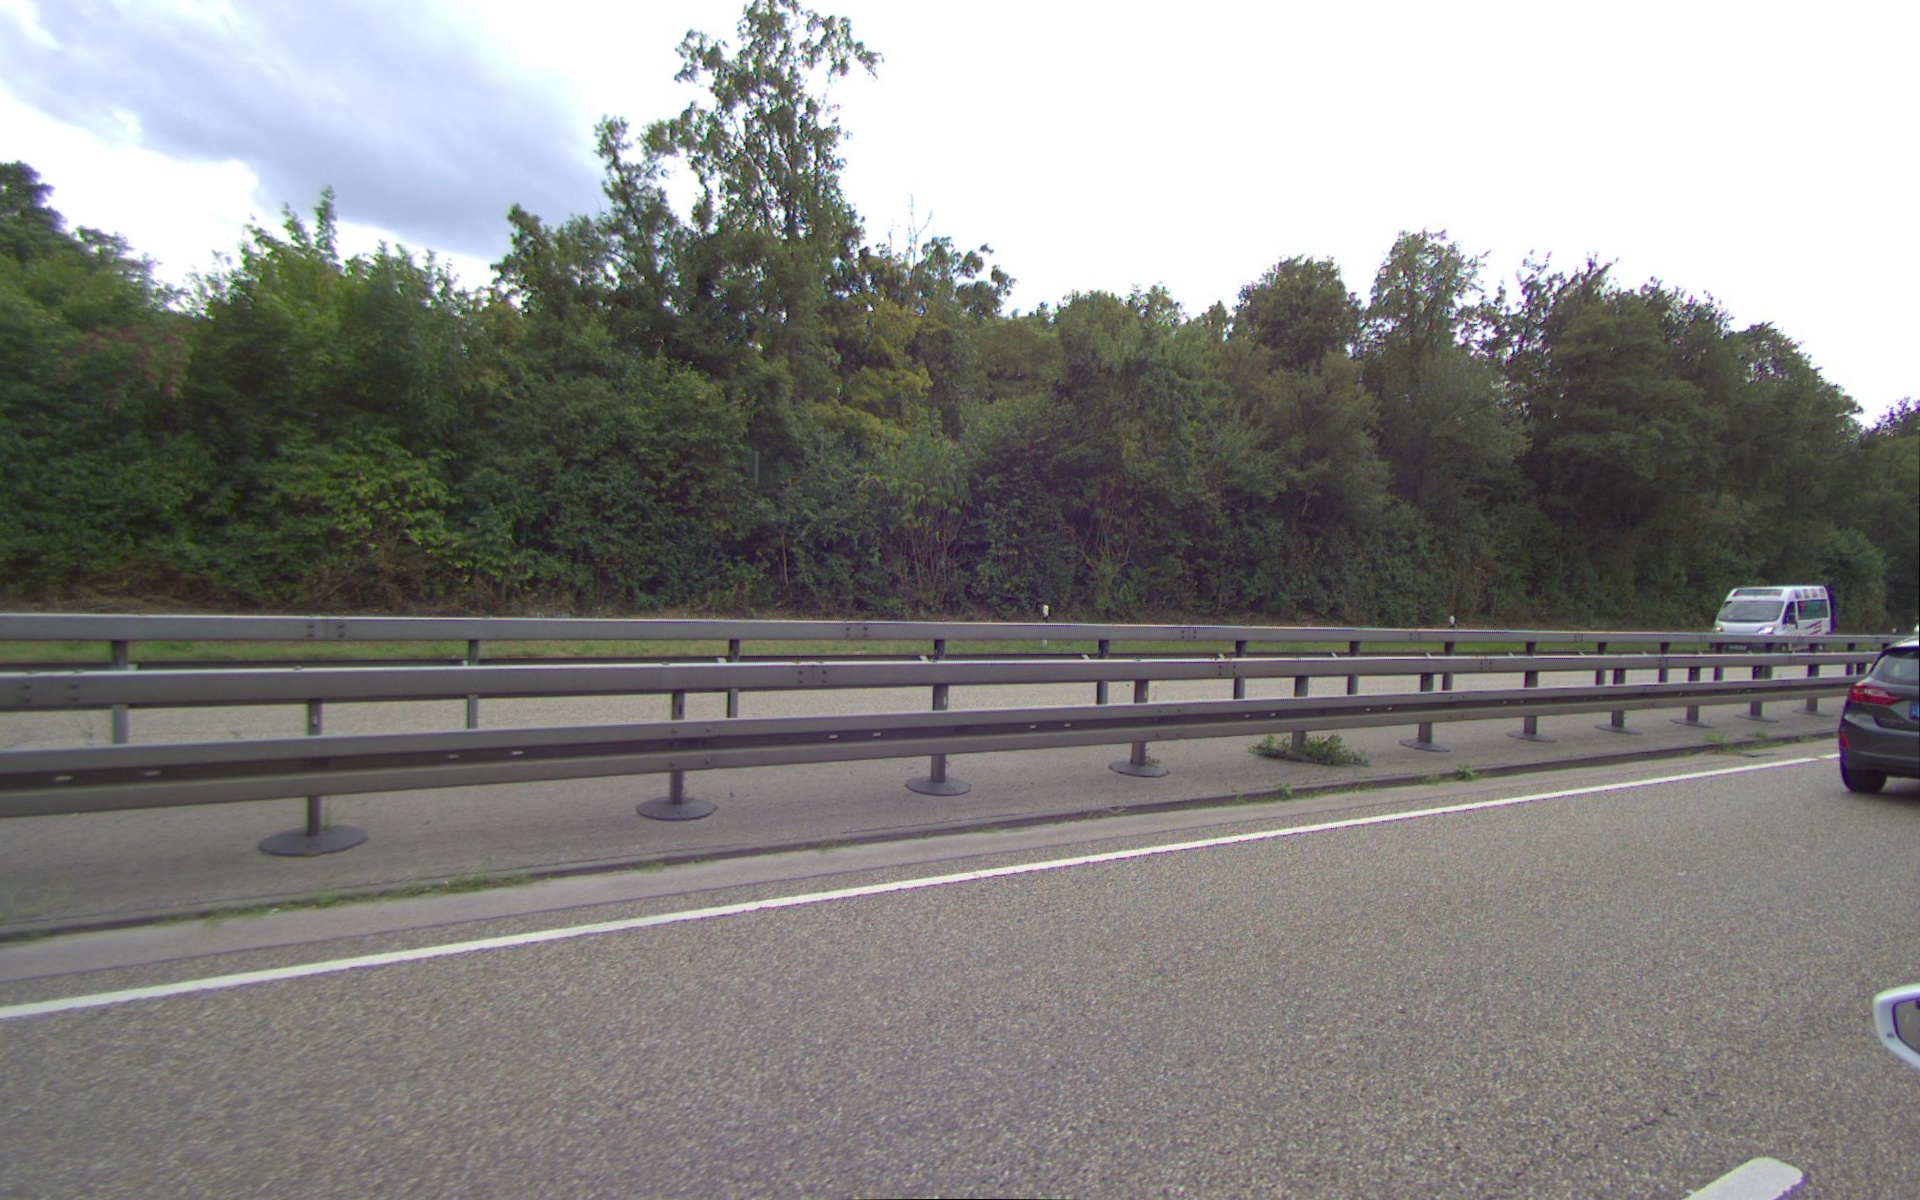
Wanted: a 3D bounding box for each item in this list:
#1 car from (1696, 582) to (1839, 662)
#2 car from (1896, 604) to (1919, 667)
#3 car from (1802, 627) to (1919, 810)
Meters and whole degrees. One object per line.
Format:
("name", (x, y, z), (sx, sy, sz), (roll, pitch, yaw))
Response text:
("car", (28.655, 0.795, 35.604), (5.492, 2.645, 2.299), (2, -1, -32))
("car", (32.949, 1.215, 33.116), (5.001, 2.009, 1.812), (2, -1, -32))
("car", (9.854, 1.037, 9.312), (4.588, 1.477, 1.816), (2, -1, -32))
